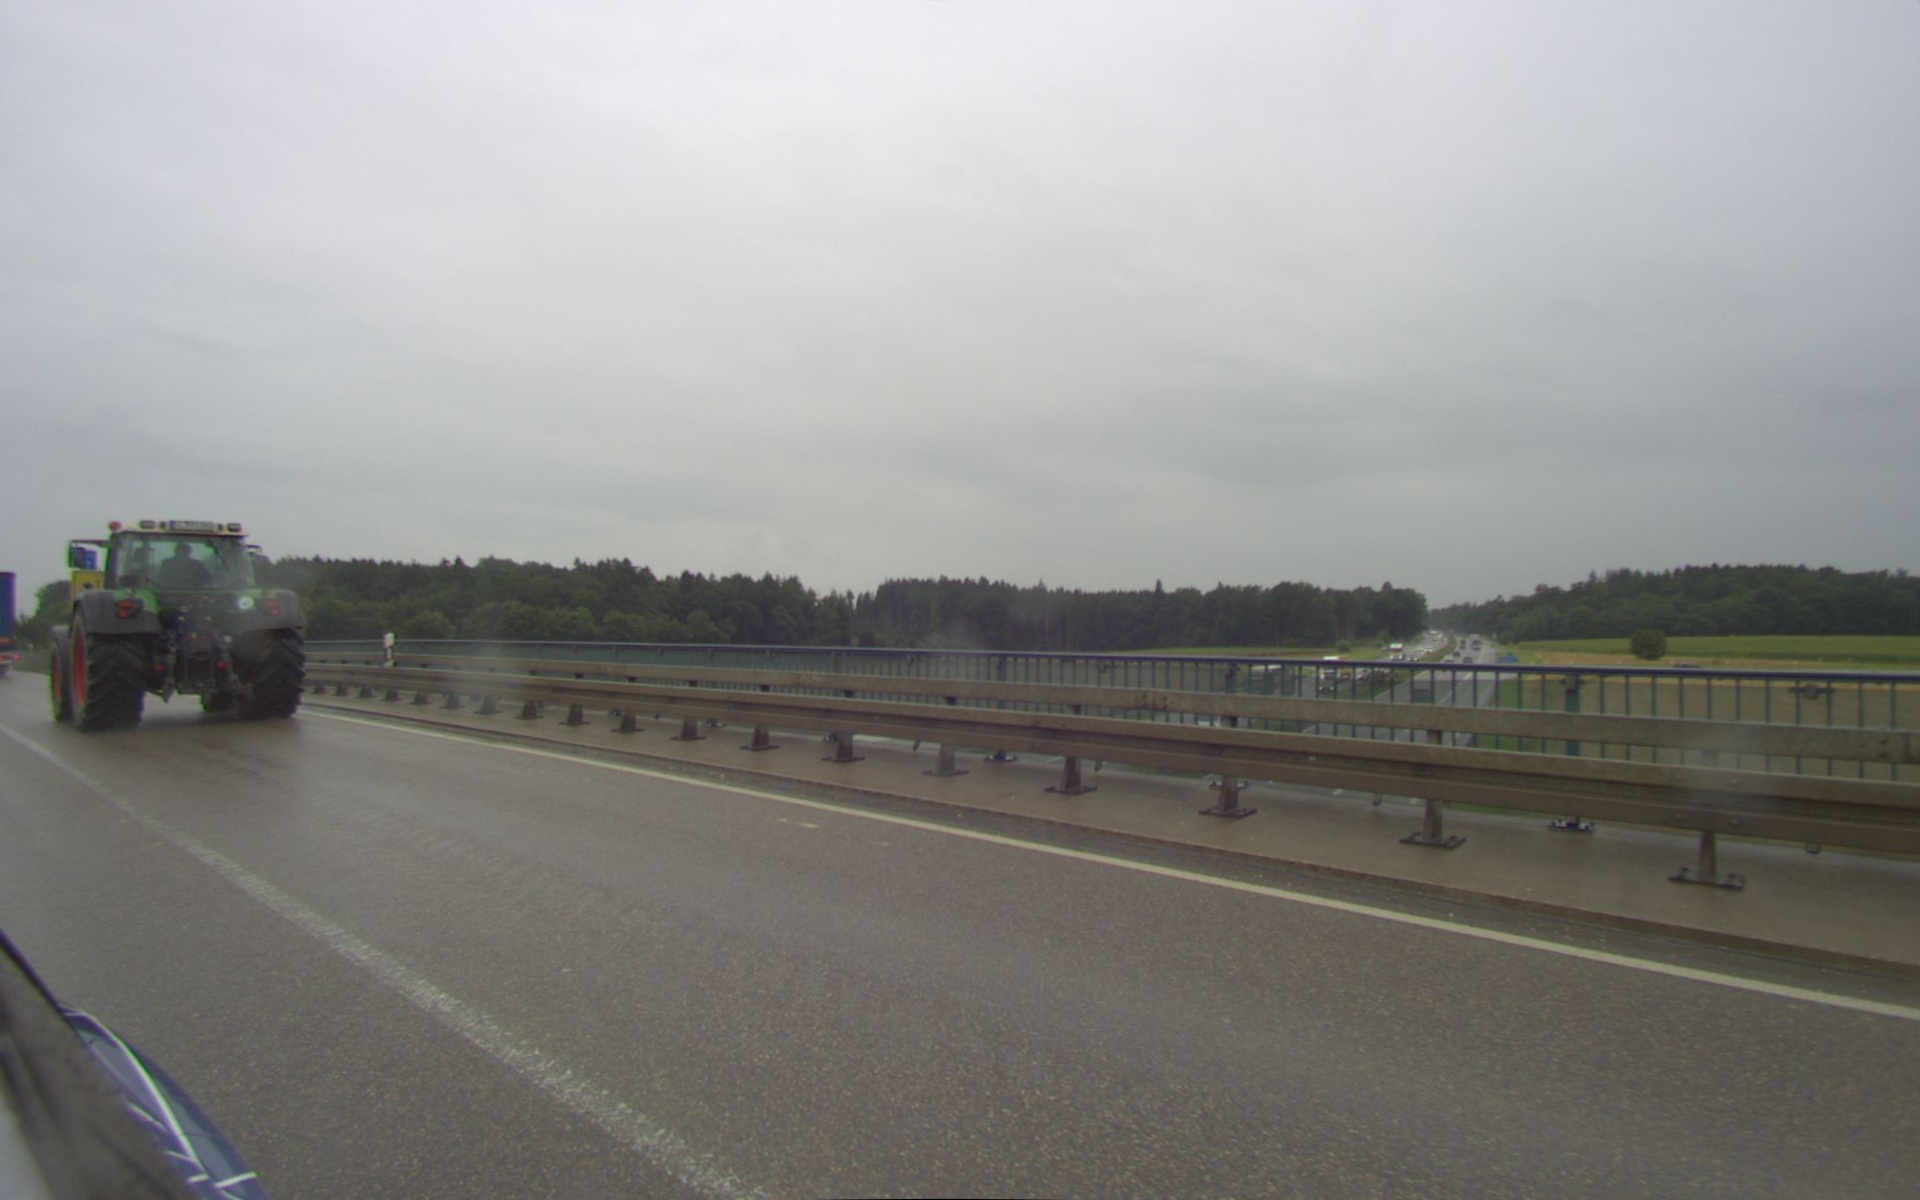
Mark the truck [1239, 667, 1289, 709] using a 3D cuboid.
[{"bbox_3d":[33.734,9.654,112.074,2.235,3.727,9.737,-3,0,35],"label":"truck"}]

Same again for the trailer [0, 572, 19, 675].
[{"bbox_3d":[-42.852,1.126,43.071,13.730,4.000,2.788,-2,-2,42],"label":"trailer"}]

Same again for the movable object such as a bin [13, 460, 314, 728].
[{"bbox_3d":[-12.363,0.040,15.639,4.638,3.472,2.721,-3,-3,39],"label":"movable object such as a bin"}]
